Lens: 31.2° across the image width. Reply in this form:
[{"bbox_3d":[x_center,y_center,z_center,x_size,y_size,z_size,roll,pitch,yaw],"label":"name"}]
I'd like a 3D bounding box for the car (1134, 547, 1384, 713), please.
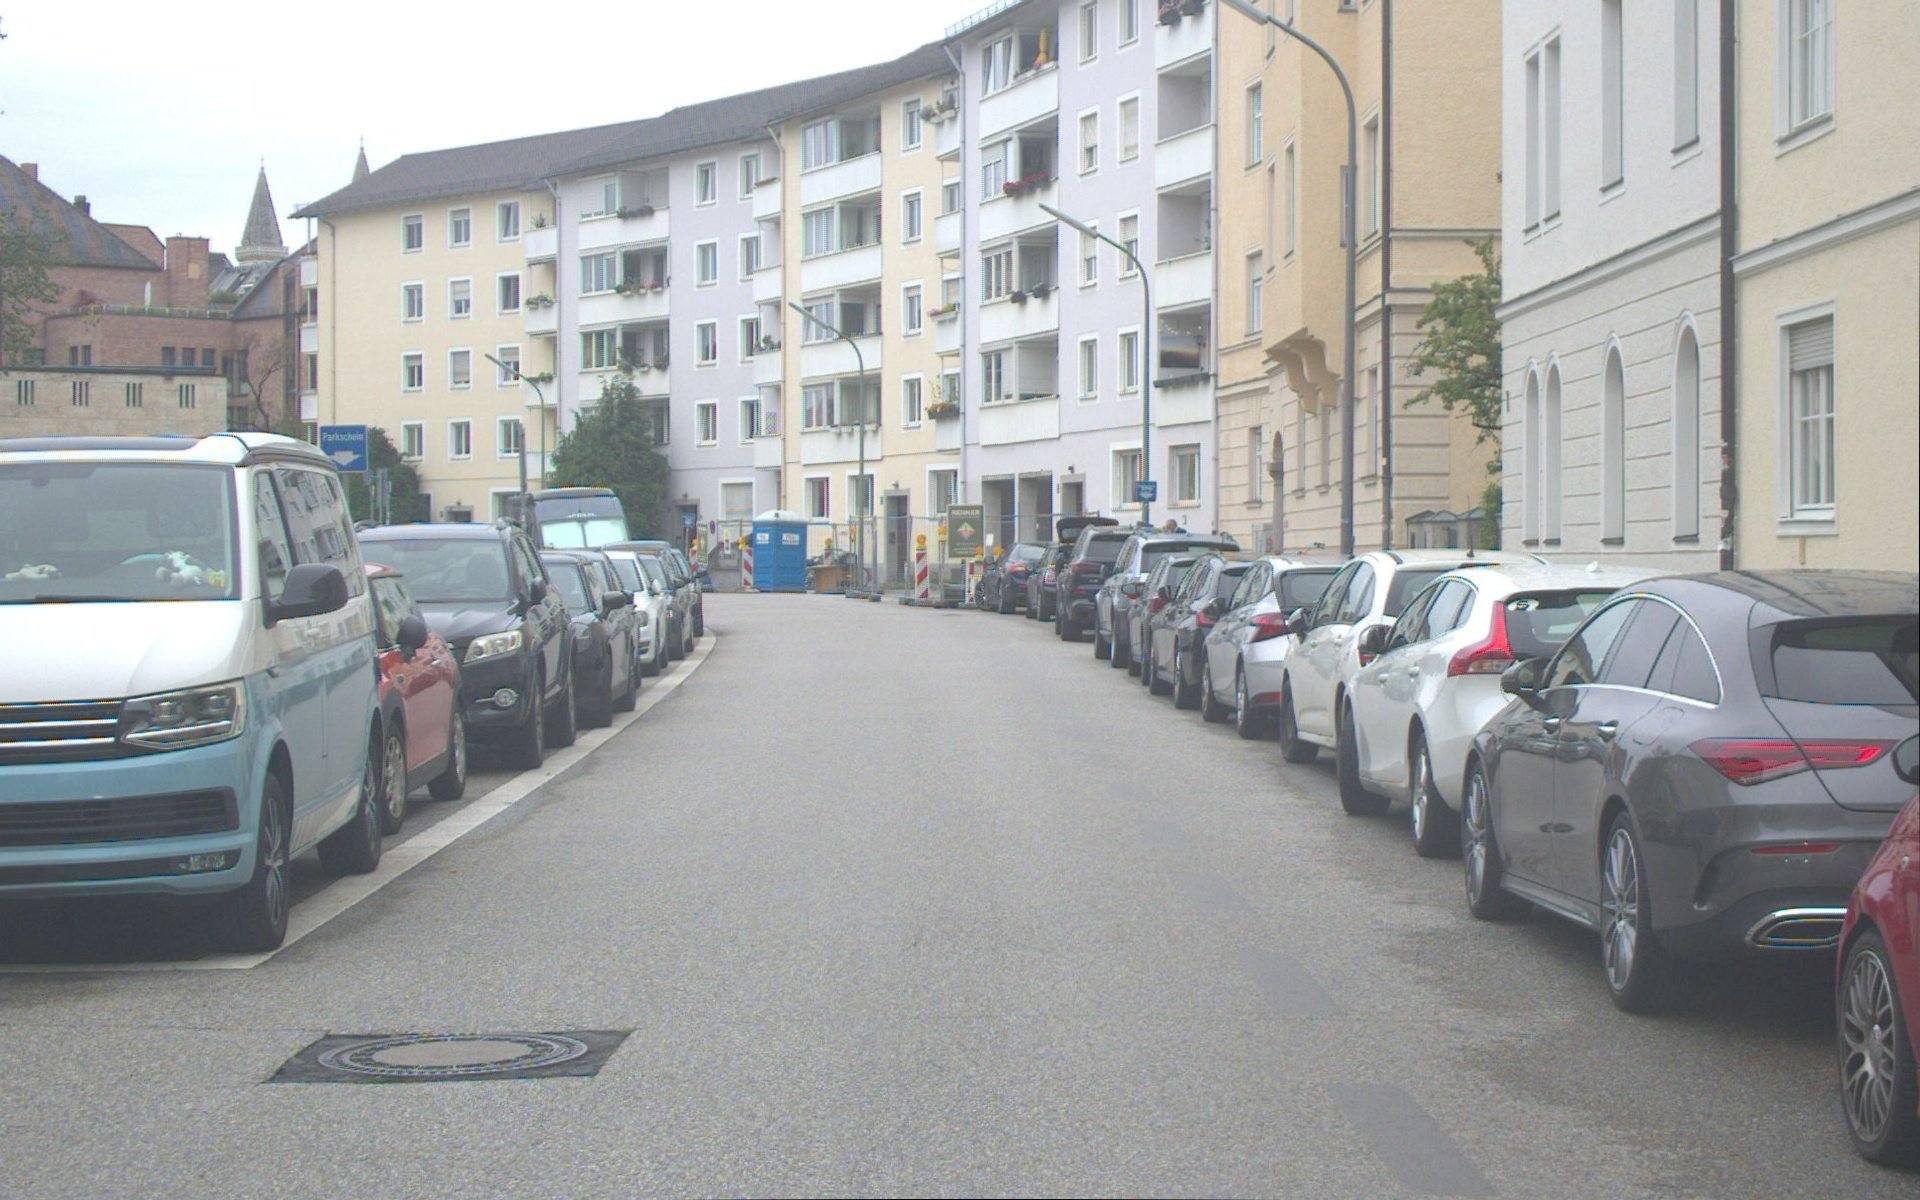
[{"bbox_3d":[2.790,0.232,33.032,1.875,1.445,4.678,0,1,-1],"label":"car"}]

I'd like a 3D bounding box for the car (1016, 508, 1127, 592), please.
[{"bbox_3d":[2.031,-0.947,63.504,1.630,1.412,3.680,2,2,-4],"label":"car"}]

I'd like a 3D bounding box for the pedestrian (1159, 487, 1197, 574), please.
[{"bbox_3d":[4.312,-1.374,68.052,0.617,1.684,0.919,-2,2,-1],"label":"pedestrian"}]

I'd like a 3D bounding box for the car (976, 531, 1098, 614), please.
[{"bbox_3d":[1.515,-0.580,69.785,1.908,1.472,4.948,2,2,-5],"label":"car"}]

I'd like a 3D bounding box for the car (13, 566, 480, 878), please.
[{"bbox_3d":[-3.807,0.589,18.963,1.804,1.401,3.710,-1,2,-1],"label":"car"}]

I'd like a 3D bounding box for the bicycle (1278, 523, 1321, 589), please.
[{"bbox_3d":[5.708,-0.747,57.809,0.502,1.045,2.138,-2,2,1],"label":"bicycle"}]

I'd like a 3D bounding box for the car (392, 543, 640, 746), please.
[{"bbox_3d":[-3.722,0.325,29.344,1.631,1.489,3.820,-2,2,-1],"label":"car"}]

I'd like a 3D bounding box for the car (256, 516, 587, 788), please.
[{"bbox_3d":[-3.706,0.288,24.302,1.714,1.683,4.141,-1,2,-1],"label":"car"}]

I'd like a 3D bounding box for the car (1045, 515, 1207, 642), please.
[{"bbox_3d":[2.514,-0.381,53.309,2.170,1.733,5.025,2,2,-1],"label":"car"}]

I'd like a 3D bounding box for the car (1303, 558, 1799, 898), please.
[{"bbox_3d":[2.967,0.570,18.153,1.725,1.425,4.294,2,2,-2],"label":"car"}]

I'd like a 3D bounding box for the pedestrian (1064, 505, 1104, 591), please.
[{"bbox_3d":[2.214,-0.935,61.592,0.628,1.523,0.578,2,2,-2],"label":"pedestrian"}]

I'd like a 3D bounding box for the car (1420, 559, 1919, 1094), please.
[{"bbox_3d":[2.924,0.652,12.373,1.773,1.425,4.616,2,2,-1],"label":"car"}]

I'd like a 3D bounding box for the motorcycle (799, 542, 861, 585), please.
[{"bbox_3d":[-3.870,-1.095,102.113,0.931,1.217,2.508,0,2,-25],"label":"motorcycle"}]

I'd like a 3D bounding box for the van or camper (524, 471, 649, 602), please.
[{"bbox_3d":[-7.735,-1.318,70.740,2.296,2.572,6.087,0,1,-9],"label":"van or camper"}]

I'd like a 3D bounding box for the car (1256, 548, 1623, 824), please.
[{"bbox_3d":[3.085,0.496,22.881,1.650,1.538,3.994,2,2,-3],"label":"car"}]

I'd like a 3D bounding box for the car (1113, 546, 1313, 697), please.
[{"bbox_3d":[2.748,0.195,38.192,1.827,1.445,4.085,2,2,-1],"label":"car"}]

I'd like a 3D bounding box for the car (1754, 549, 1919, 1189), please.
[{"bbox_3d":[3.051,0.673,7.440,1.654,1.425,3.757,2,2,-2],"label":"car"}]

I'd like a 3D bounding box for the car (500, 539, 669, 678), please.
[{"bbox_3d":[-4.365,0.061,40.465,1.740,1.417,4.295,1,2,-3],"label":"car"}]

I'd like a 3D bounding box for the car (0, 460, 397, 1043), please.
[{"bbox_3d":[-3.532,0.419,14.112,1.914,1.953,4.963,1,2,-4],"label":"car"}]

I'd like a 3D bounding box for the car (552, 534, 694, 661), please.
[{"bbox_3d":[-4.429,-0.070,45.666,1.630,1.489,4.276,-2,2,-3],"label":"car"}]

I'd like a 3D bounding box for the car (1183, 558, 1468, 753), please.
[{"bbox_3d":[2.918,0.398,28.247,1.724,1.445,4.188,0,1,-2],"label":"car"}]

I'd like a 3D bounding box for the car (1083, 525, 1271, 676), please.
[{"bbox_3d":[2.655,-0.039,43.049,1.846,1.657,4.499,2,2,-2],"label":"car"}]
